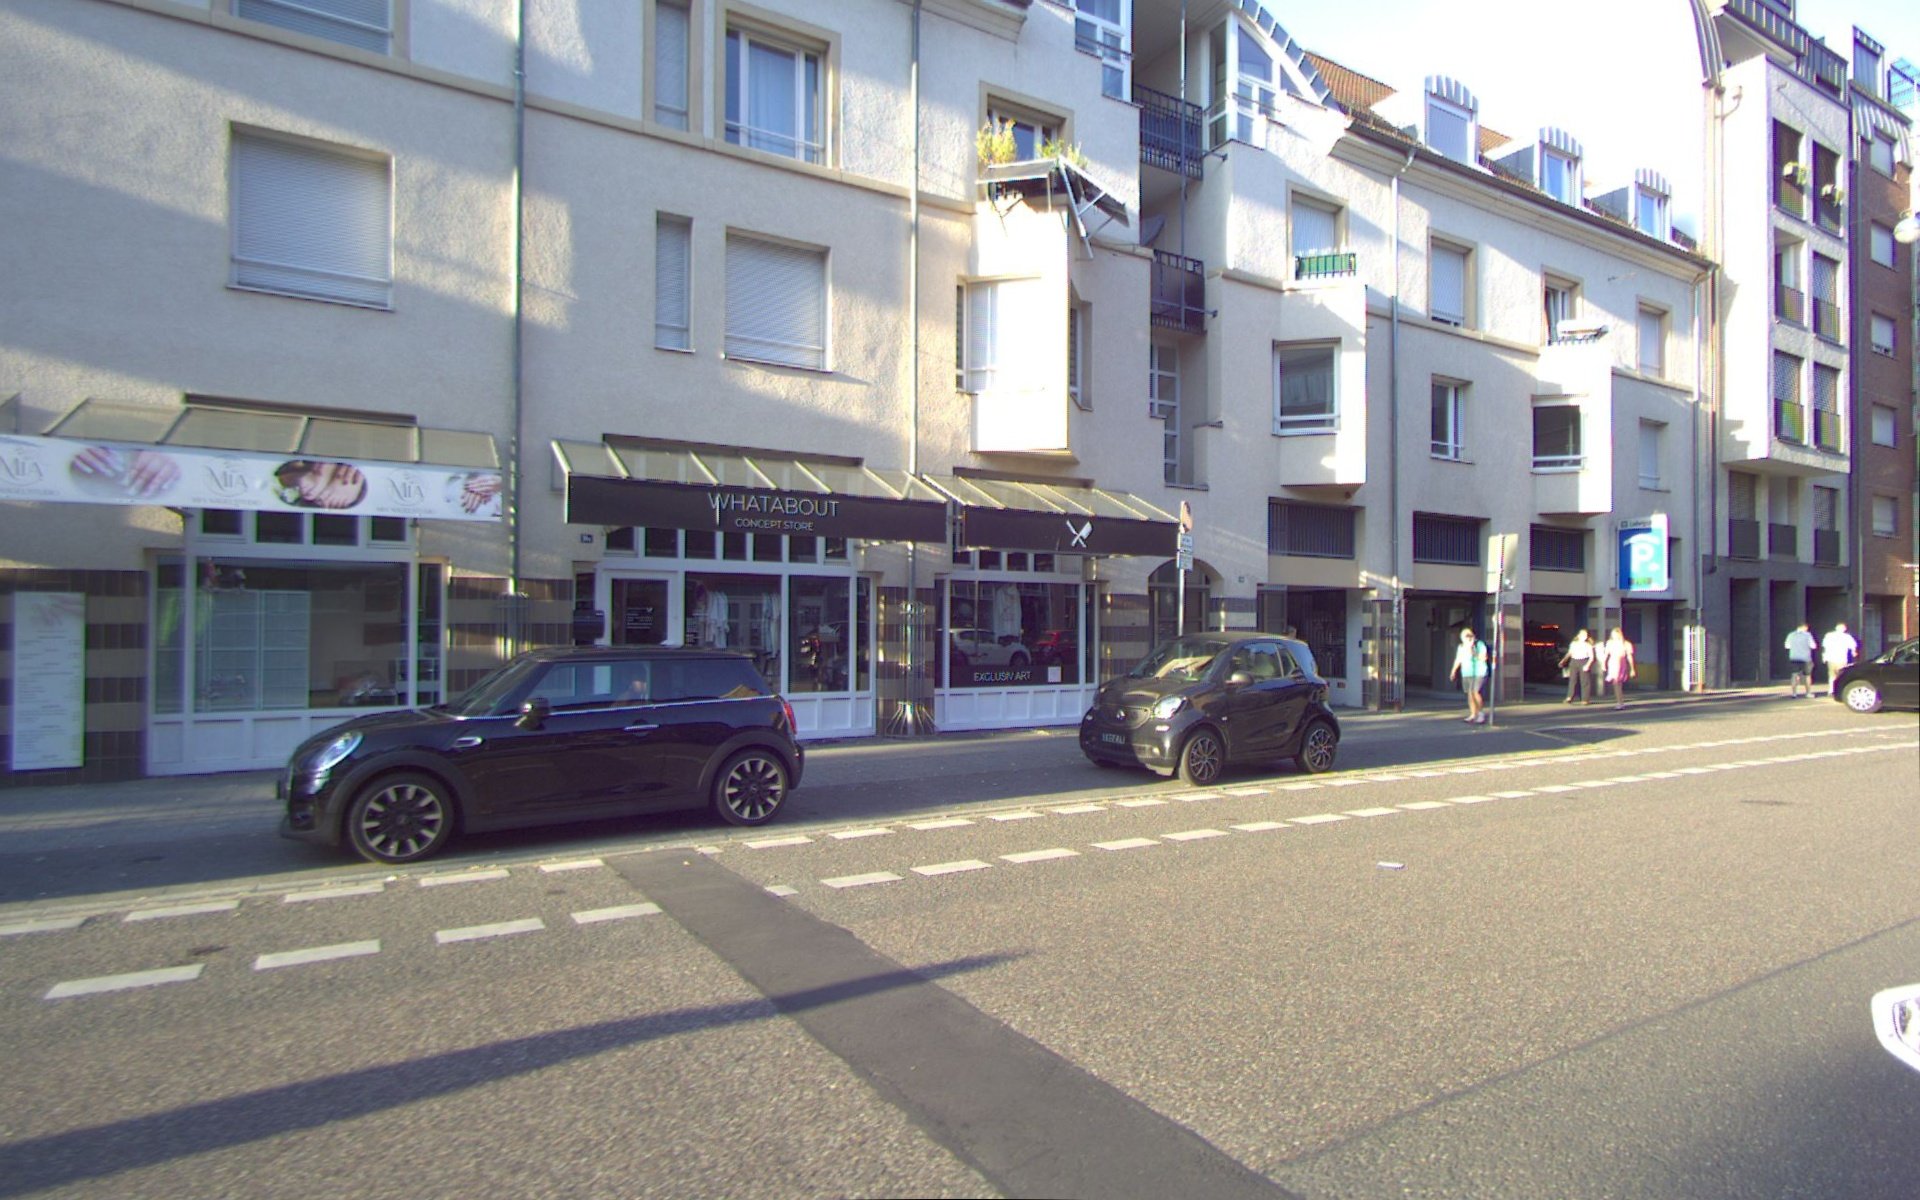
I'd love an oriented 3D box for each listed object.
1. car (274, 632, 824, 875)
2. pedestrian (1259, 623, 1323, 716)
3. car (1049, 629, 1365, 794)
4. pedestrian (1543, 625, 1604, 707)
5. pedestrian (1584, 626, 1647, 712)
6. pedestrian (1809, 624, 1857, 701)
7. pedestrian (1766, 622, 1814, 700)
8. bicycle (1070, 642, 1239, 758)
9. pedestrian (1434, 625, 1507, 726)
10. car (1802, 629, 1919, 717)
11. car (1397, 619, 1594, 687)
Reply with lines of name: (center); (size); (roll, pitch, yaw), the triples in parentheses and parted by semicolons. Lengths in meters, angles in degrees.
car: (-3.128, 1.043, 8.001); (3.681, 1.473, 1.703); (2, 0, -30)
pedestrian: (6.103, 1.267, 18.532); (0.844, 1.637, 0.714); (2, 0, -27)
car: (2.791, 1.124, 11.284); (3.155, 1.555, 1.781); (1, -1, -33)
pedestrian: (12.834, 1.374, 21.017); (0.843, 1.663, 0.714); (2, 0, -25)
pedestrian: (13.185, 1.380, 20.210); (0.844, 1.663, 0.714); (2, 0, -25)
pedestrian: (20.643, 1.466, 23.749); (0.732, 1.763, 0.711); (2, 0, -38)
pedestrian: (19.685, 1.422, 23.817); (0.688, 1.790, 0.711); (2, 0, -37)
bicycle: (2.575, 1.267, 13.153); (2.331, 1.393, 0.607); (2, 0, -31)
pedestrian: (8.795, 1.276, 17.307); (0.941, 1.663, 0.712); (2, 0, -32)
car: (18.653, 1.371, 18.577); (1.964, 1.622, 4.503); (2, -4, -10)
car: (14.579, 1.391, 27.633); (1.974, 1.623, 4.479); (2, 0, -26)
